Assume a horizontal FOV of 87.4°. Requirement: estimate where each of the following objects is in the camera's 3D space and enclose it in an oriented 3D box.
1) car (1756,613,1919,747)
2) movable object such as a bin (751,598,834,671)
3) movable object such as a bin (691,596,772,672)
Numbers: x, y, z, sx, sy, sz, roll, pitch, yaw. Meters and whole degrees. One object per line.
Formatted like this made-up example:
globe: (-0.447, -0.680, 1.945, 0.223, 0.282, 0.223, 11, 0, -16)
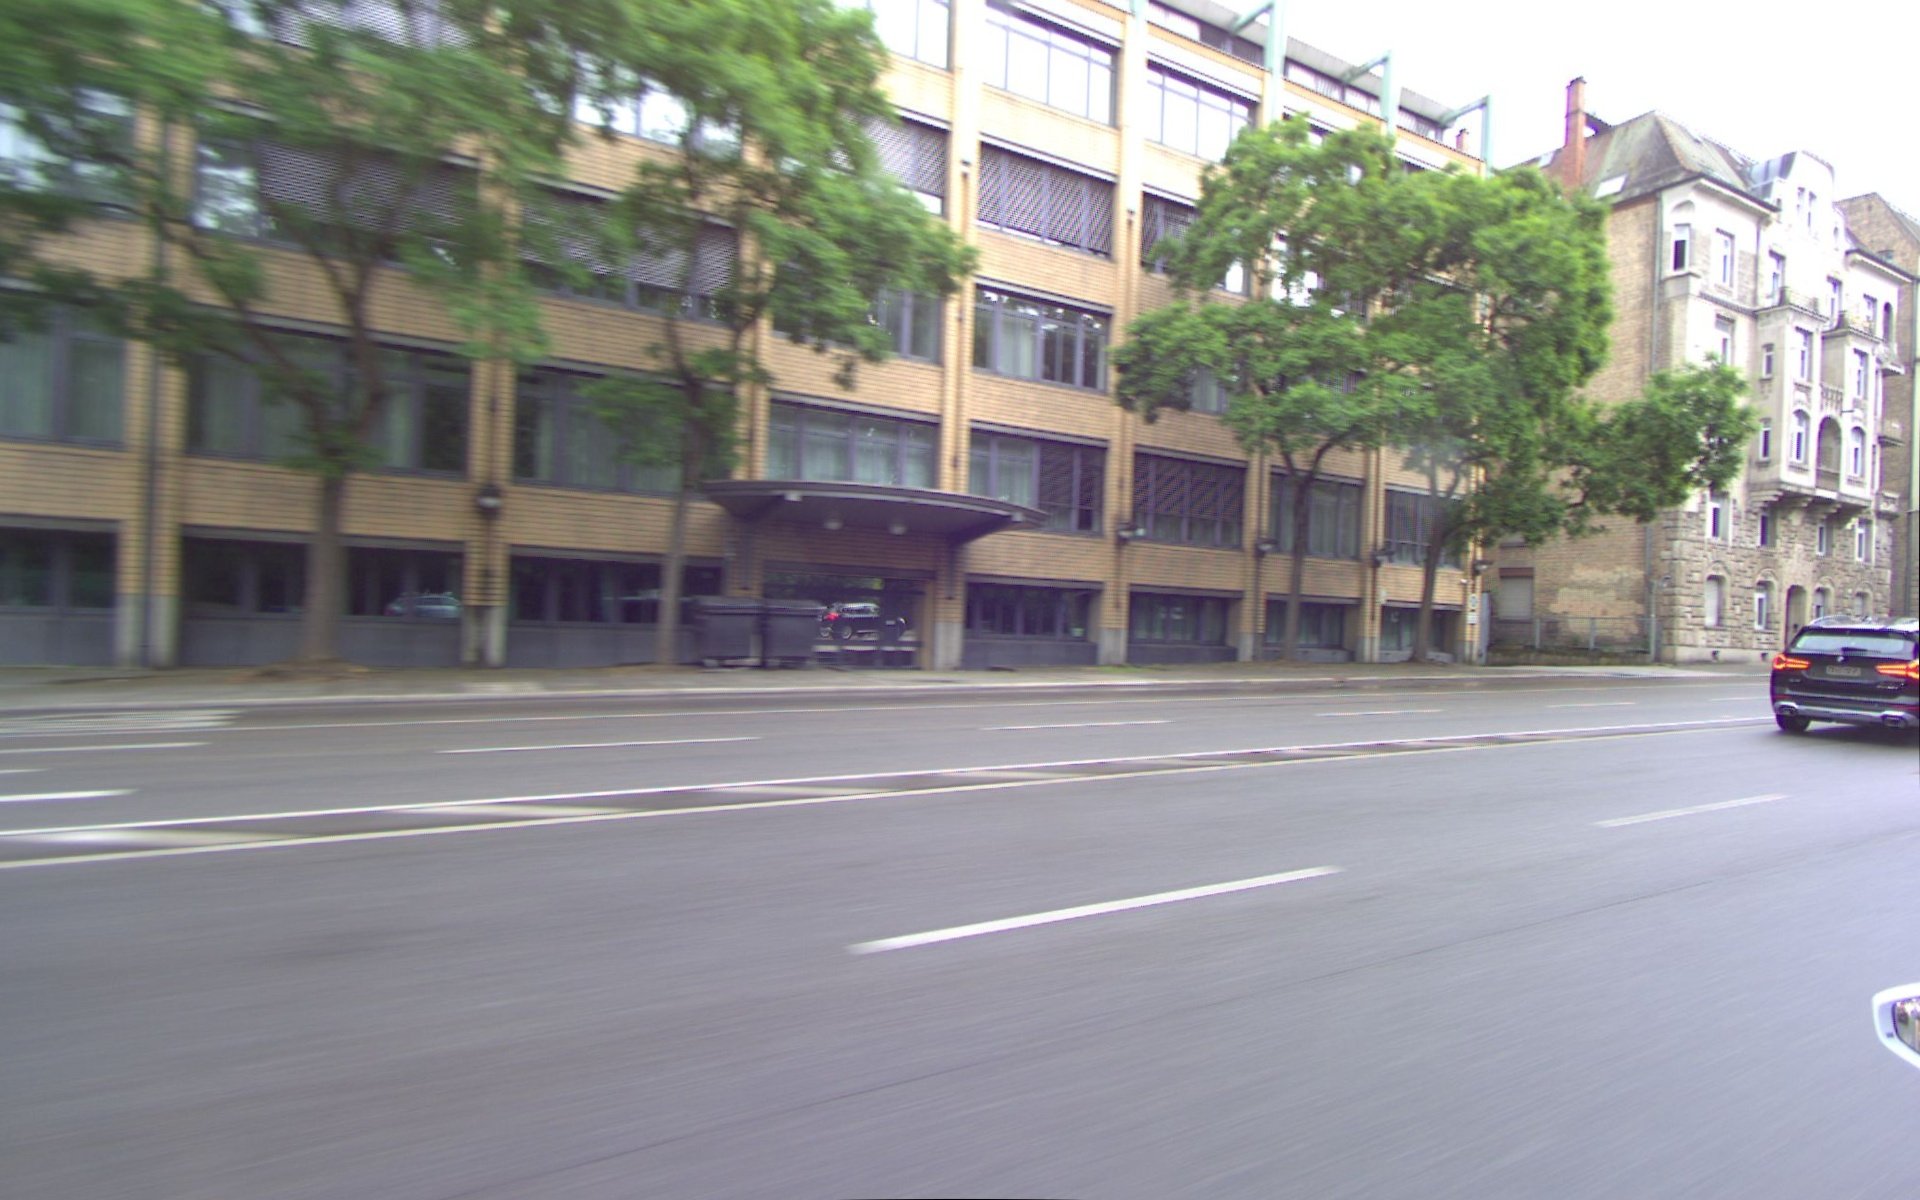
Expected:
car: (13.322, 1.060, 14.221, 4.361, 1.607, 1.749, 2, 0, -31)
movable object such as a bin: (-3.520, 0.715, 21.104, 1.358, 1.455, 1.061, 1, 1, -34)
movable object such as a bin: (-4.630, 0.673, 20.353, 1.301, 1.455, 0.967, 1, 1, -34)
